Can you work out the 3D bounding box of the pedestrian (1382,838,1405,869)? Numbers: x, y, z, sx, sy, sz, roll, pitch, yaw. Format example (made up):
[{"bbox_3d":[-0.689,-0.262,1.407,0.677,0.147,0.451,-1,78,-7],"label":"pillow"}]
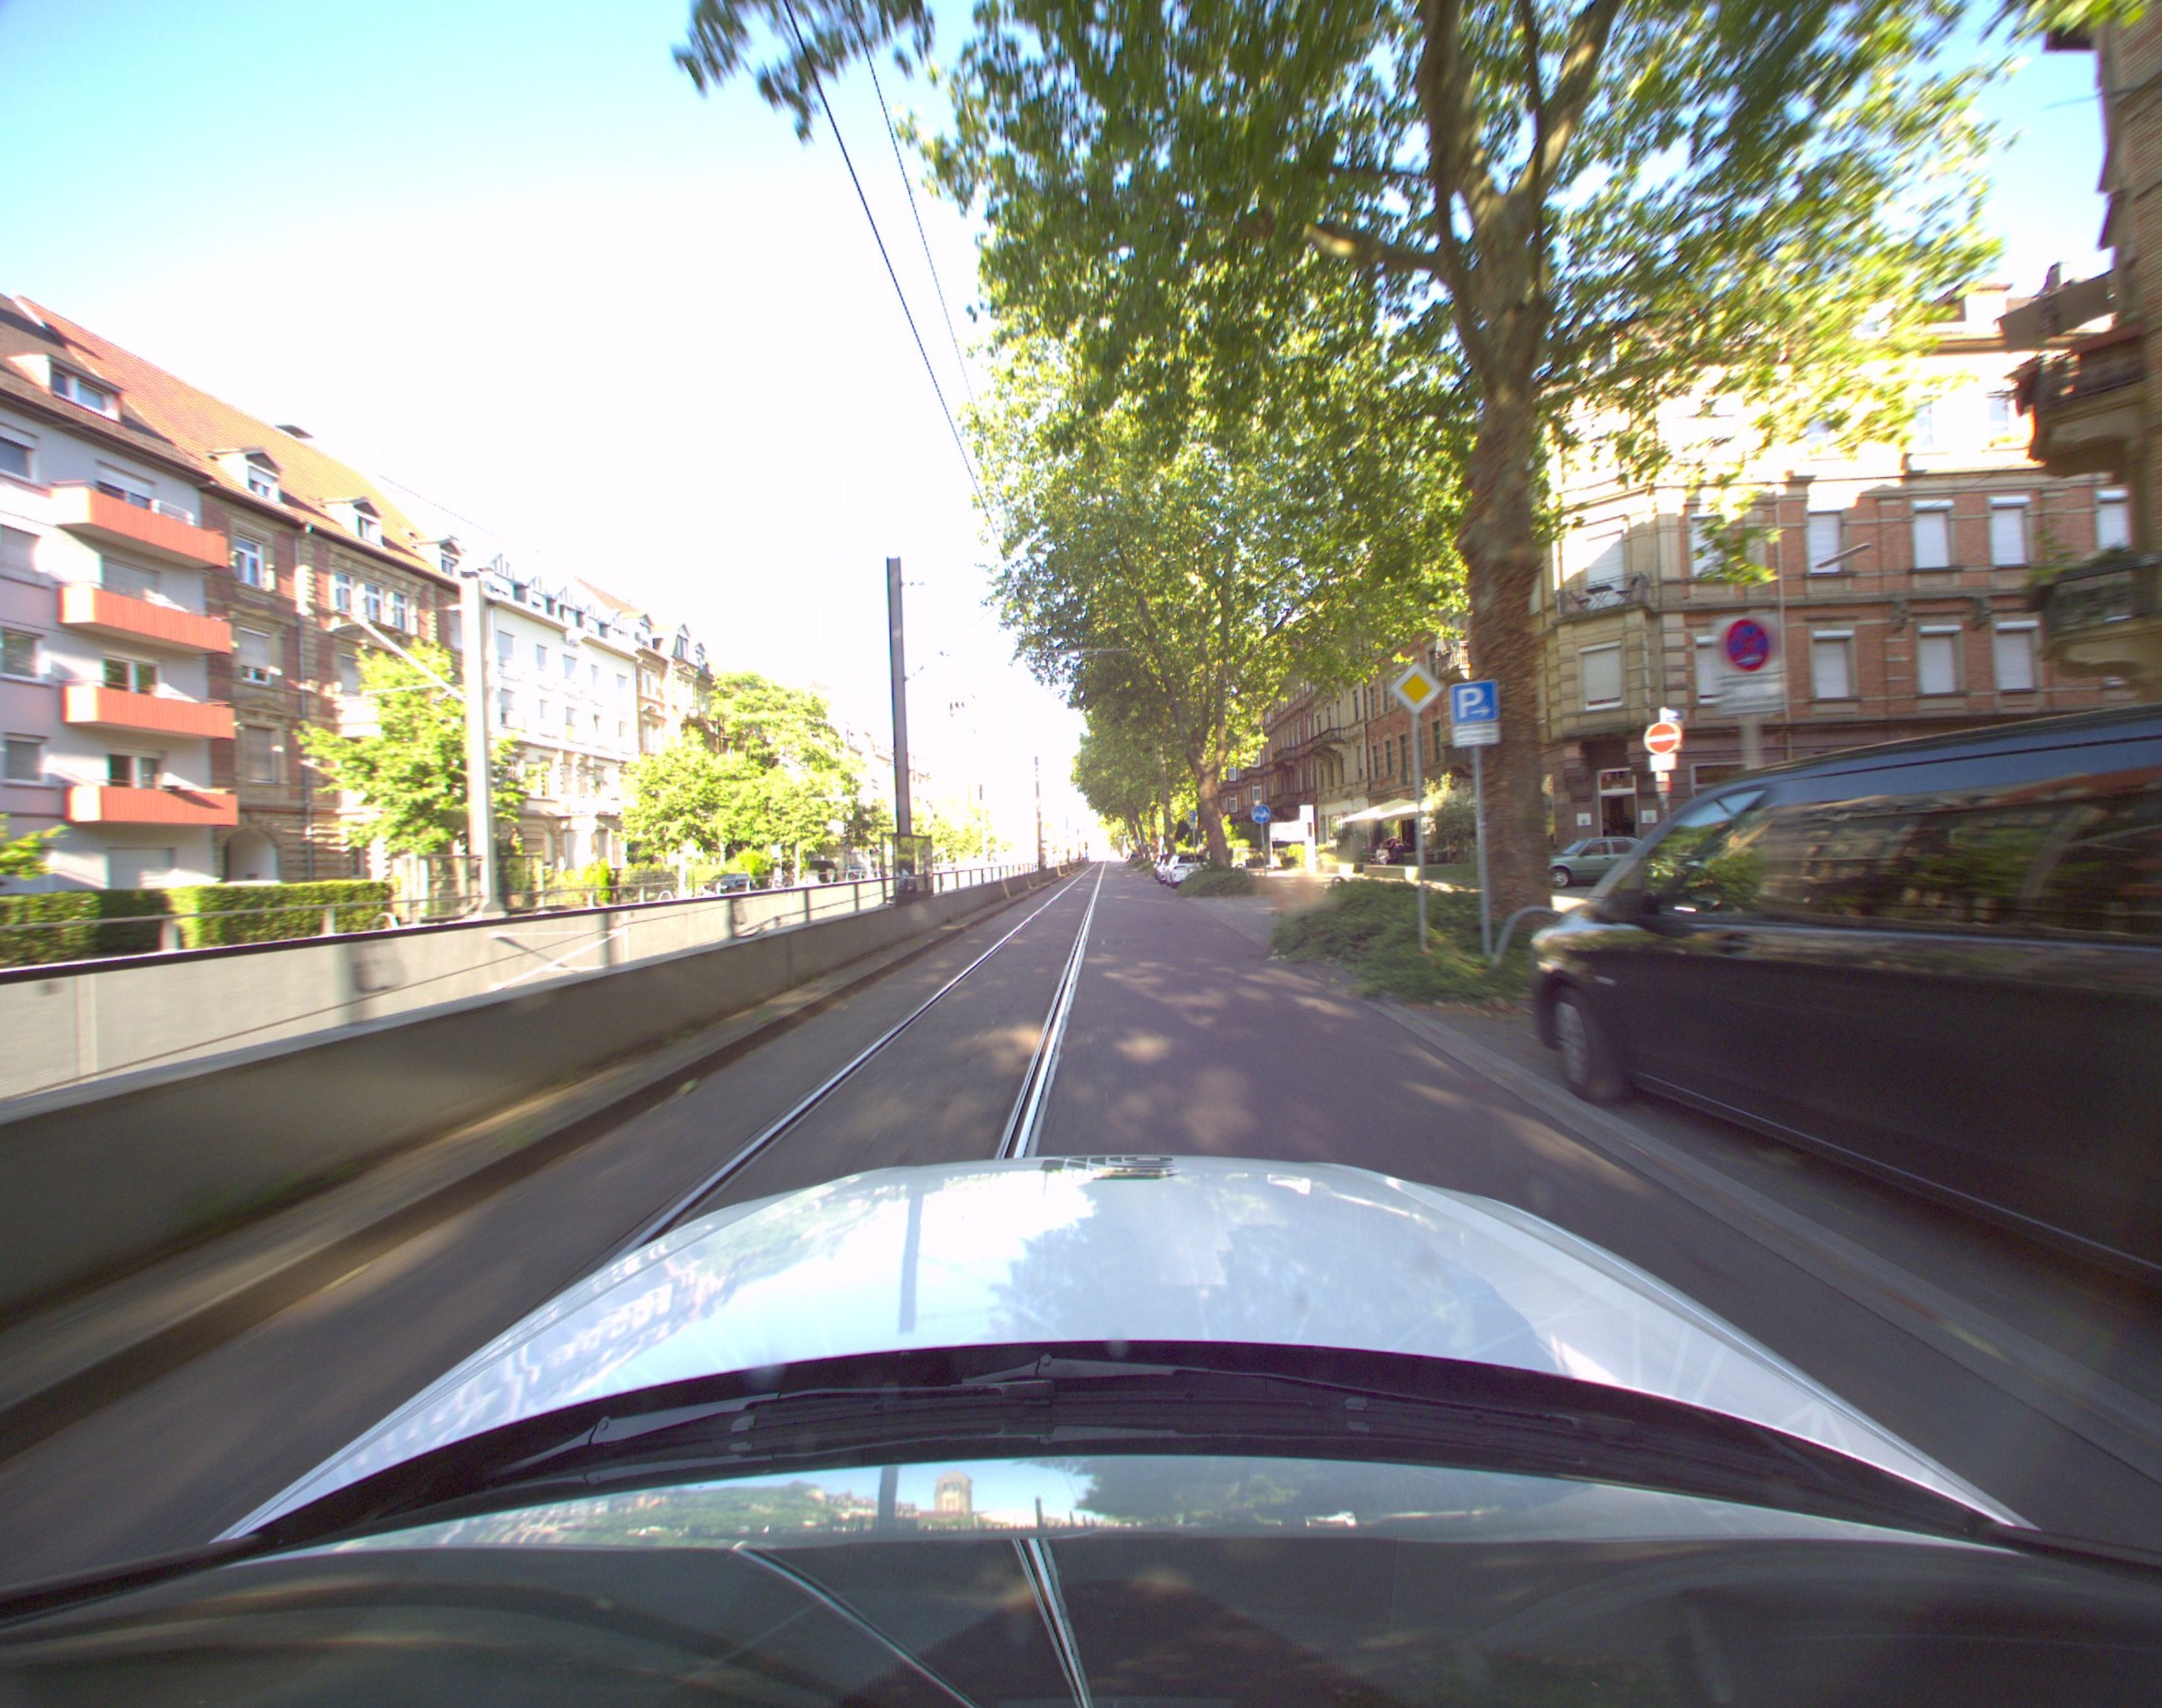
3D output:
[{"bbox_3d":[13.474,-0.026,35.109,0.710,1.300,0.663,-2,0,3],"label":"pedestrian"}]

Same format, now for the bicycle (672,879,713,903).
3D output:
[{"bbox_3d":[-19.788,1.900,41.510,1.800,1.178,0.563,0,0,4],"label":"bicycle"}]

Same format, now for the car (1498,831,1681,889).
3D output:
[{"bbox_3d":[13.940,0.128,22.469,3.976,1.364,1.742,-3,1,-2],"label":"car"}]

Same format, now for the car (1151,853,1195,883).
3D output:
[{"bbox_3d":[4.515,0.668,40.436,1.823,1.326,4.002,-2,0,2],"label":"car"}]

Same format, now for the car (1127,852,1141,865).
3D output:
[{"bbox_3d":[6.802,0.551,104.929,1.611,1.587,4.418,-3,0,1],"label":"car"}]

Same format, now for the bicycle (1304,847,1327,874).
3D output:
[{"bbox_3d":[10.554,0.270,36.670,0.473,1.143,1.897,-4,0,2],"label":"bicycle"}]

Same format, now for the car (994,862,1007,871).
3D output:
[{"bbox_3d":[-15.980,2.486,162.057,1.708,1.555,4.514,0,0,4],"label":"car"}]

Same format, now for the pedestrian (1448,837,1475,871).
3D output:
[{"bbox_3d":[14.870,-0.008,31.844,0.710,1.300,0.663,-2,0,1],"label":"pedestrian"}]

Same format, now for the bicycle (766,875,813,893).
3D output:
[{"bbox_3d":[-18.944,1.944,52.950,2.796,1.098,0.636,0,0,-31],"label":"bicycle"}]

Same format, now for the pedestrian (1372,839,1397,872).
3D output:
[{"bbox_3d":[12.258,0.066,32.889,0.710,1.300,0.663,-2,0,1],"label":"pedestrian"}]

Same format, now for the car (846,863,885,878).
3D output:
[{"bbox_3d":[-24.265,1.836,91.779,3.984,1.624,1.820,-1,0,-8],"label":"car"}]

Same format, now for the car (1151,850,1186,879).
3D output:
[{"bbox_3d":[5.049,0.585,47.413,1.725,1.536,4.809,-2,0,3],"label":"car"}]

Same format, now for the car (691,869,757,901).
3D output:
[{"bbox_3d":[-19.461,1.654,44.592,1.827,1.585,3.999,0,0,0],"label":"car"}]

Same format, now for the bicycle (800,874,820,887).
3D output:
[{"bbox_3d":[-19.308,1.900,58.045,1.272,0.905,0.534,0,0,-29],"label":"bicycle"}]

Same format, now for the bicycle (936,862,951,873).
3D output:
[{"bbox_3d":[-17.635,1.725,104.673,1.721,1.280,0.601,-2,-1,7],"label":"bicycle"}]

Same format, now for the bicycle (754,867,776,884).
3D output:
[{"bbox_3d":[-22.697,1.540,58.566,0.553,1.098,2.377,0,0,2],"label":"bicycle"}]

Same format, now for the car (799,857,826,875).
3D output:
[{"bbox_3d":[-28.452,1.246,86.432,1.994,1.849,4.465,0,0,-10],"label":"car"}]

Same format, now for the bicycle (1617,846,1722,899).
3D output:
[{"bbox_3d":[11.265,0.350,15.597,1.691,0.917,0.600,-2,0,-10],"label":"bicycle"}]

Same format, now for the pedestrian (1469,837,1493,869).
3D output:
[{"bbox_3d":[14.423,-0.040,29.384,0.554,1.102,0.526,-2,0,1],"label":"pedestrian"}]

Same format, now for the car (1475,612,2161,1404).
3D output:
[{"bbox_3d":[3.724,0.347,2.996,1.987,2.013,5.202,-3,0,0],"label":"car"}]

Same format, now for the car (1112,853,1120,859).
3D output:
[{"bbox_3d":[8.714,0.402,202.876,1.739,1.462,3.645,0,0,1],"label":"car"}]

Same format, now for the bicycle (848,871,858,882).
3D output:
[{"bbox_3d":[-21.844,2.141,78.017,0.457,1.005,1.925,0,-3,-29],"label":"bicycle"}]

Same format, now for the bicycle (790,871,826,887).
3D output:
[{"bbox_3d":[-19.229,1.741,57.429,2.382,1.098,0.552,0,0,-29],"label":"bicycle"}]

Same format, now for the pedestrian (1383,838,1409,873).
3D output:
[{"bbox_3d":[12.209,0.054,31.599,0.710,1.300,0.663,-2,0,1],"label":"pedestrian"}]

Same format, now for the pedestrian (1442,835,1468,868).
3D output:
[{"bbox_3d":[15.002,-0.093,32.692,0.658,1.300,0.715,-2,0,1],"label":"pedestrian"}]

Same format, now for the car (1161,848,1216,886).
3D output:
[{"bbox_3d":[4.563,0.536,35.211,1.796,1.477,4.647,-2,0,1],"label":"car"}]

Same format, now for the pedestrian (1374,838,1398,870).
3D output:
[{"bbox_3d":[12.715,0.014,33.944,0.710,1.300,0.663,-2,0,1],"label":"pedestrian"}]
